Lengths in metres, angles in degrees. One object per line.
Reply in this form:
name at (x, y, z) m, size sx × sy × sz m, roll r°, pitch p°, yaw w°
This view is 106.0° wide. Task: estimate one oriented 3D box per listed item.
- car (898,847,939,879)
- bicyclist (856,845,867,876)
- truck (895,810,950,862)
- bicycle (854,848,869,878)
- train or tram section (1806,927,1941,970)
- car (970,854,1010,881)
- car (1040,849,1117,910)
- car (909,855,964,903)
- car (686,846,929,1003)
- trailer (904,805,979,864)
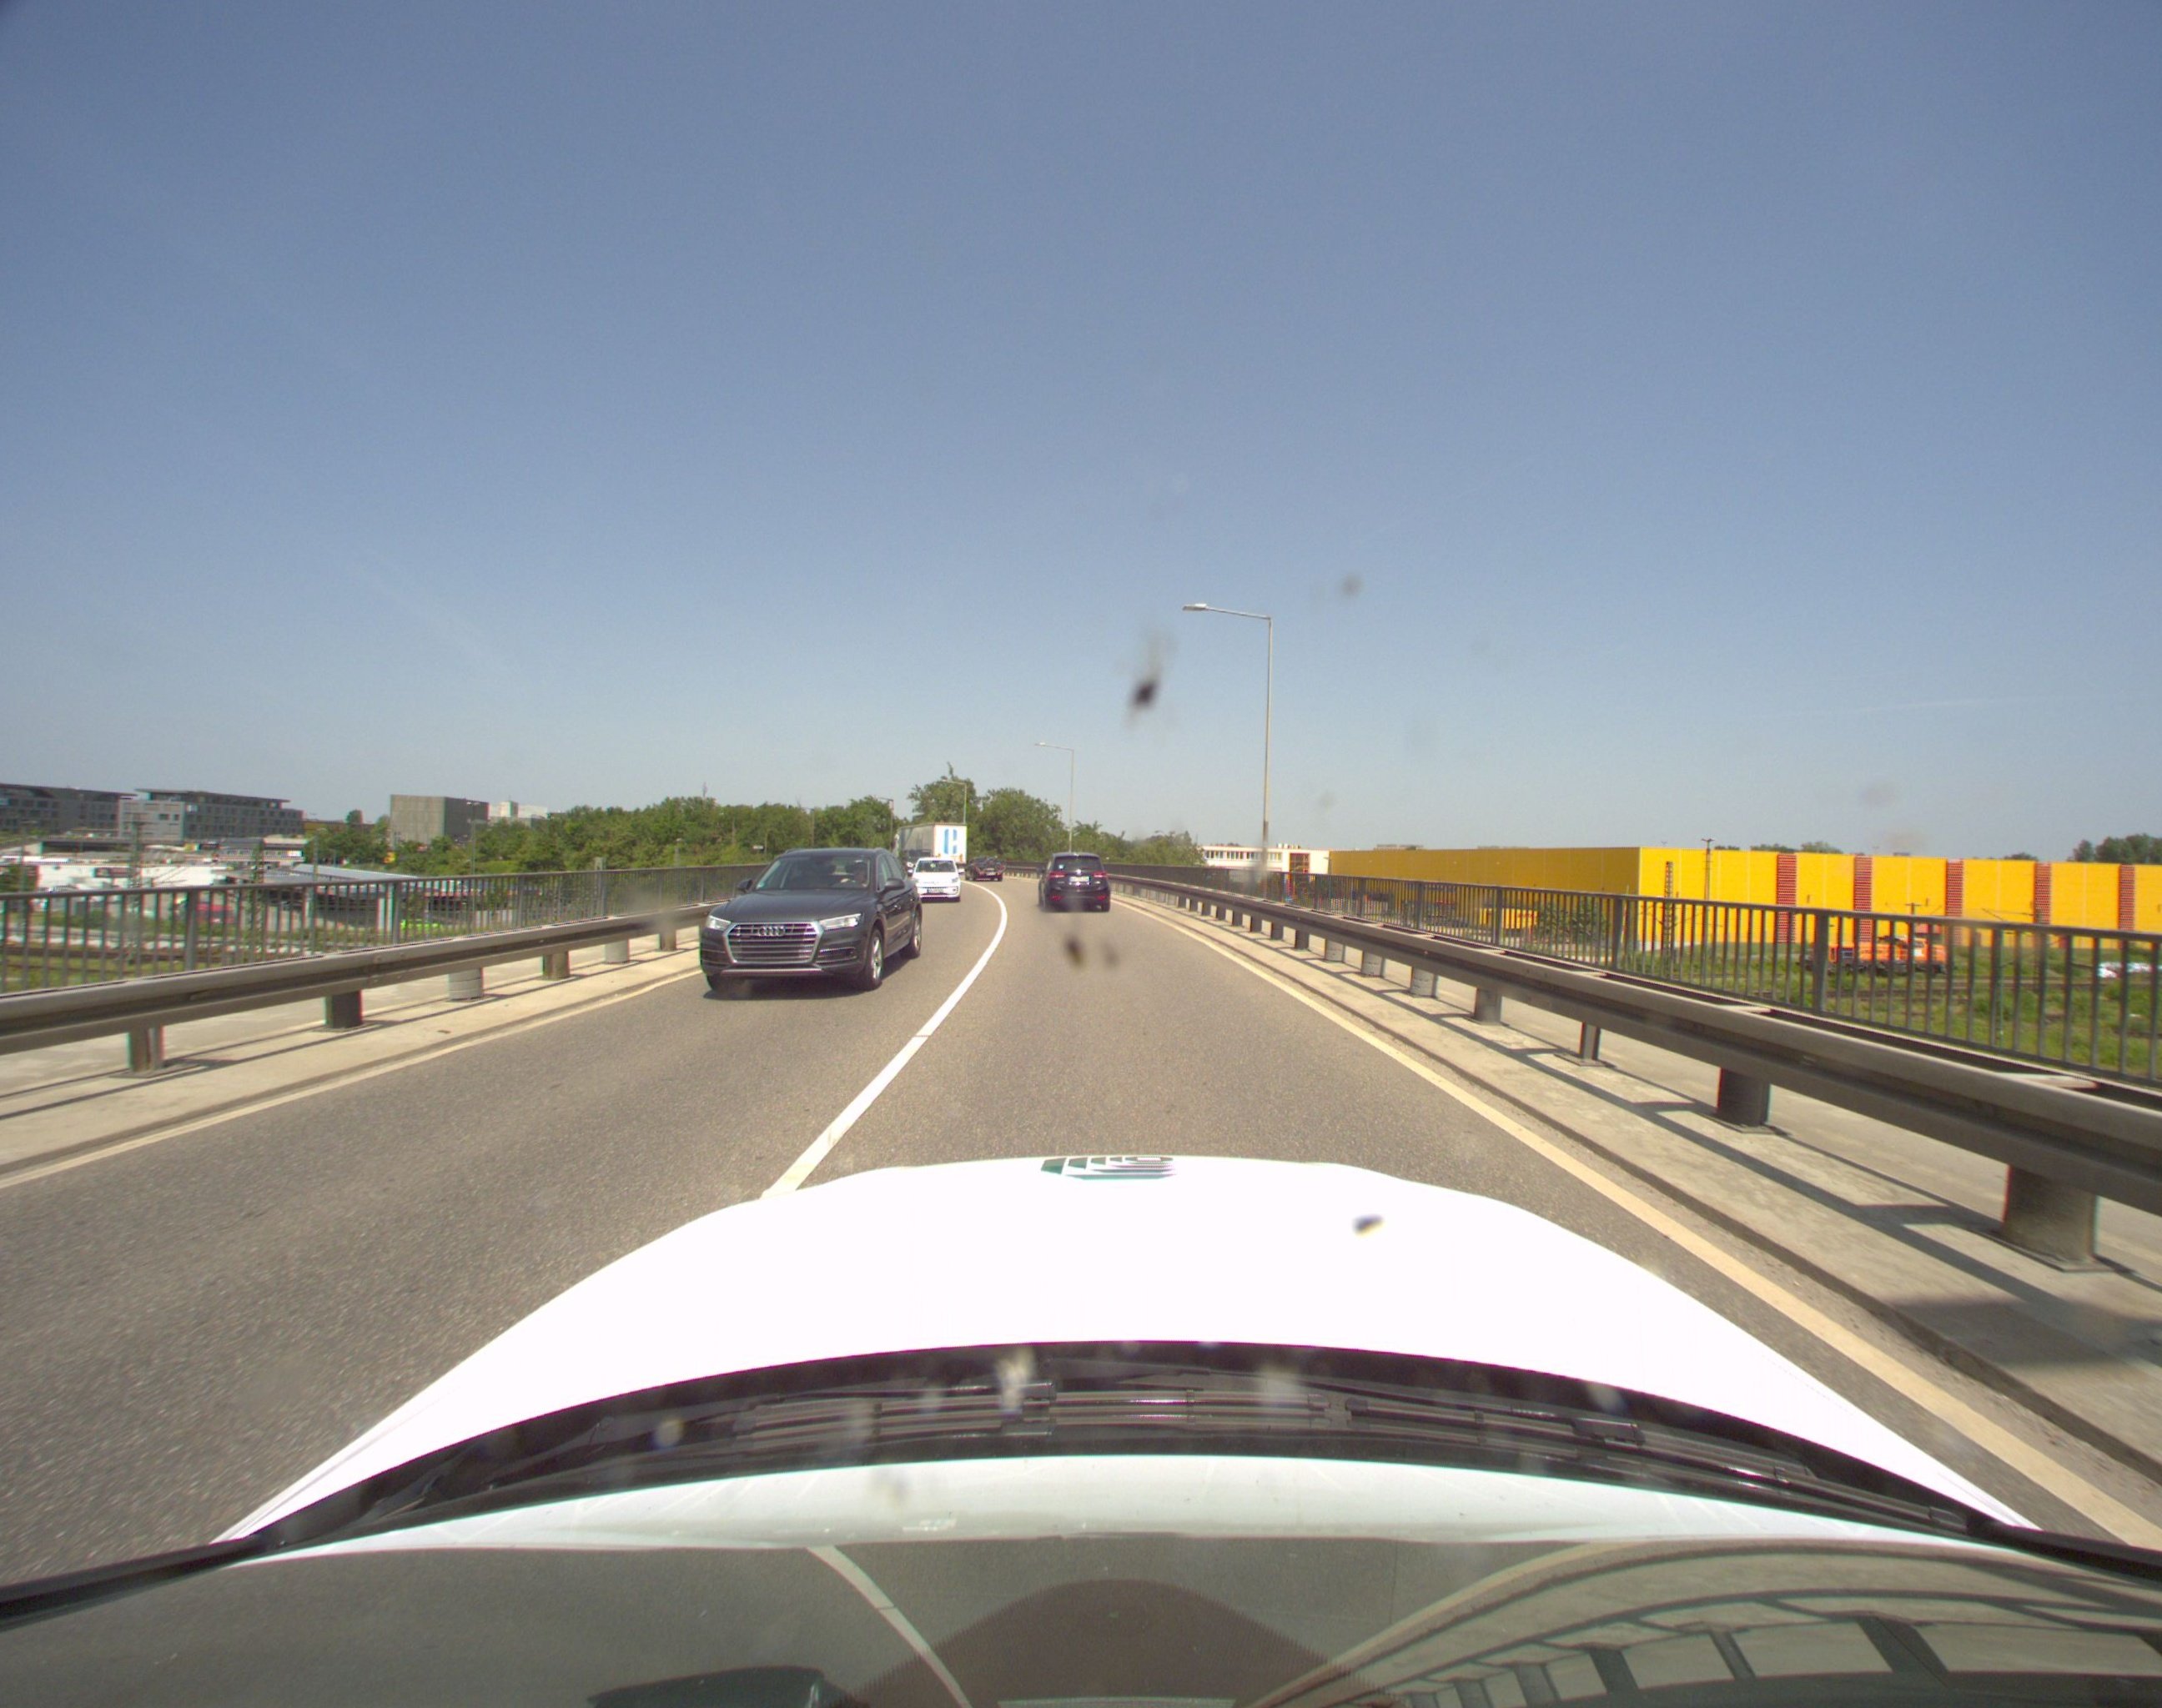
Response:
car at (-10.666, 0.569, 53.126) m, size 2.012 × 1.959 × 5.239 m, roll 0°, pitch -1°, yaw -18°
bicyclist at (-13.531, 0.384, 50.248) m, size 0.626 × 1.886 × 0.708 m, roll 0°, pitch 0°, yaw -19°
truck at (-14.357, -1.608, 73.227) m, size 3.588 × 4.440 × 6.465 m, roll 0°, pitch 0°, yaw -23°
bicycle at (-13.569, 0.548, 50.350) m, size 0.700 × 1.801 × 2.167 m, roll 0°, pitch 0°, yaw -19°
train or tram section at (81.711, 9.738, 83.938) m, size 13.963 × 3.689 × 2.231 m, roll 3°, pitch 0°, yaw -11°
car at (-5.322, 0.763, 47.119) m, size 2.012 × 1.429 × 3.762 m, roll 0°, pitch 1°, yaw -11°
car at (-0.154, 0.647, 22.925) m, size 1.918 × 1.574 × 3.886 m, roll 0°, pitch 1°, yaw -4°
car at (-4.815, 0.790, 27.497) m, size 1.663 × 1.464 × 3.477 m, roll 0°, pitch 1°, yaw -8°
car at (-3.280, 0.720, 10.732) m, size 1.836 × 1.636 × 4.231 m, roll -1°, pitch 1°, yaw -1°
trailer at (-11.710, -1.539, 67.152) m, size 3.585 × 4.384 × 11.354 m, roll 0°, pitch 1°, yaw -23°
